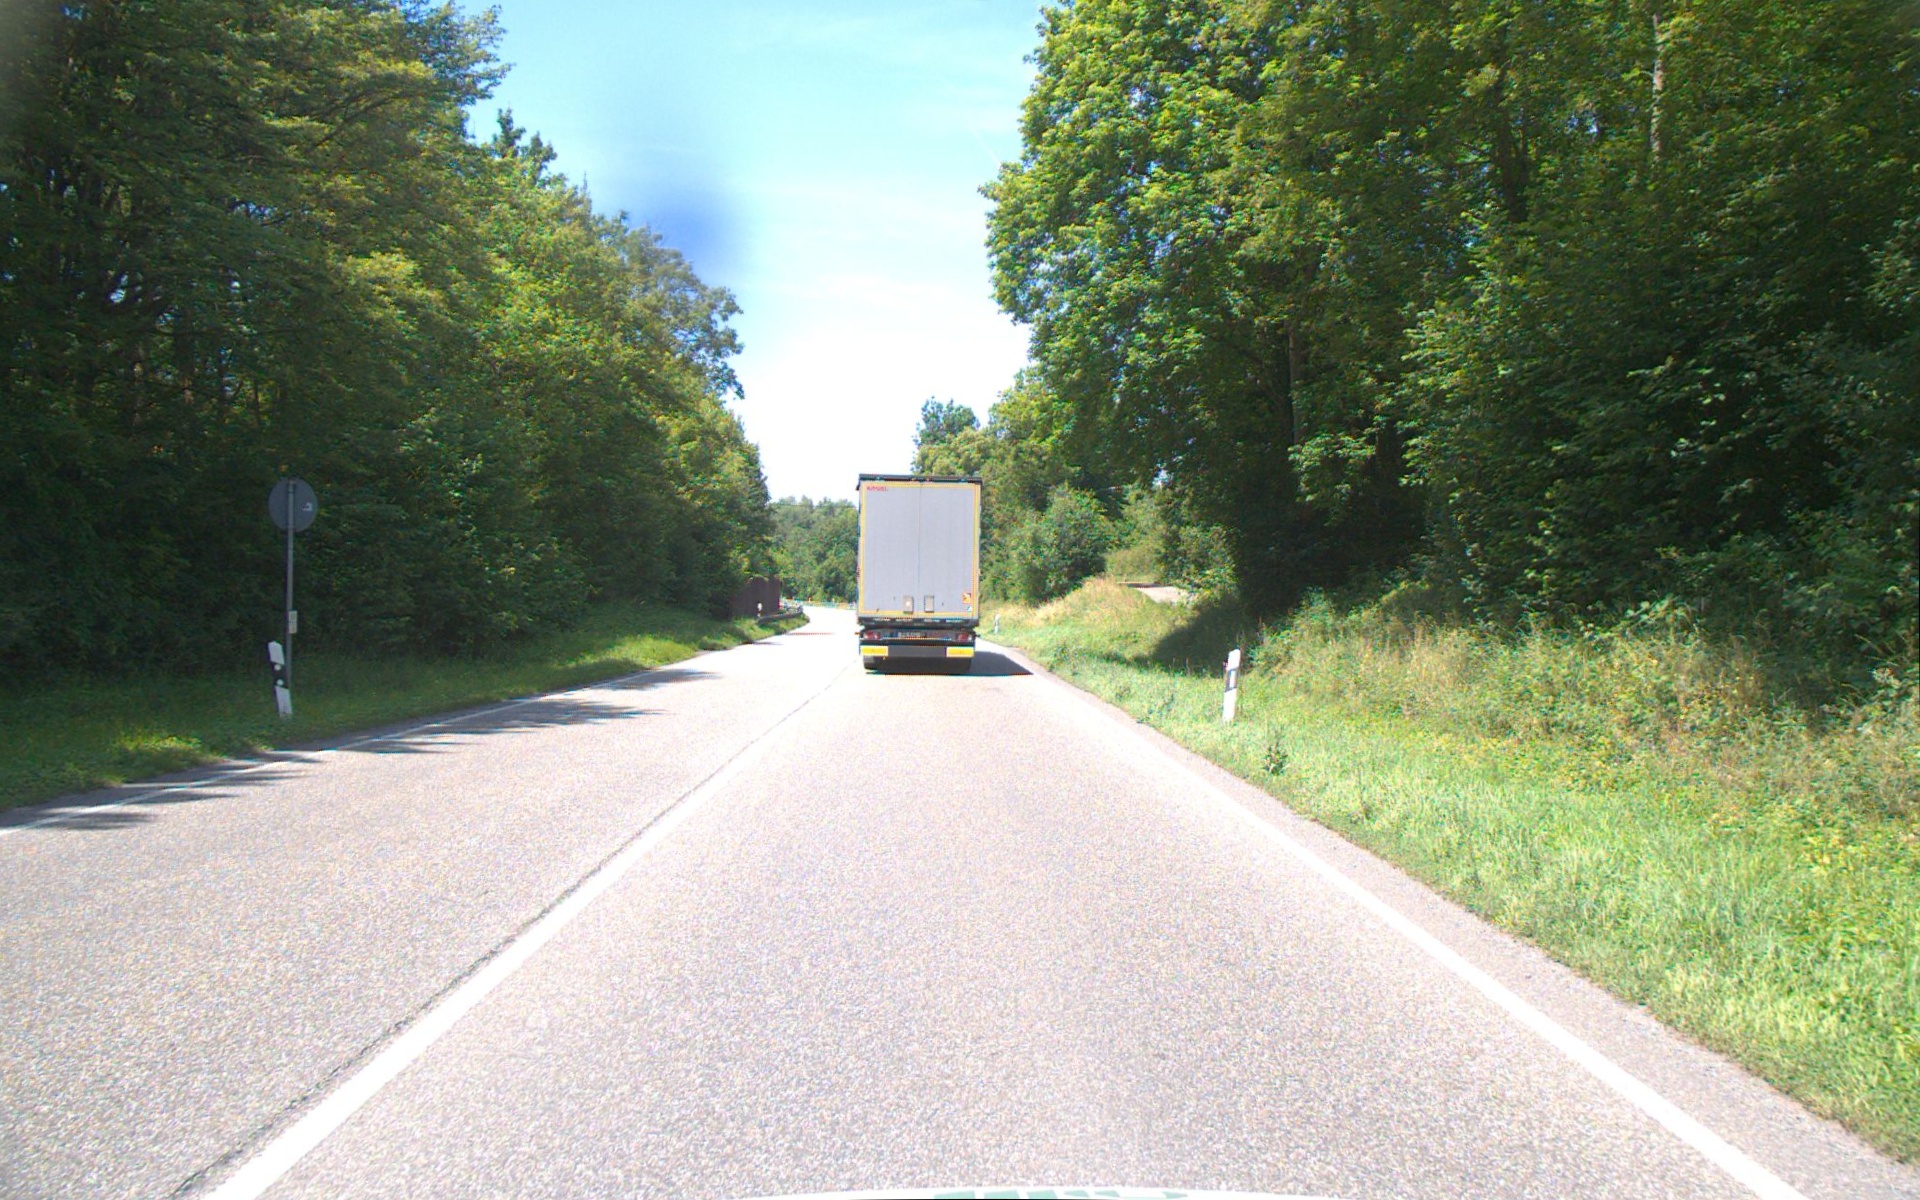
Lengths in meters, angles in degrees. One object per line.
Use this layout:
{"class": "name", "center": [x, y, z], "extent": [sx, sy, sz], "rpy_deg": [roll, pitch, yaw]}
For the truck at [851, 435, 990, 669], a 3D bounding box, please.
{"class": "truck", "center": [-0.769, -0.915, 36.674], "extent": [2.764, 4.685, 6.665], "rpy_deg": [0, -1, 0]}
